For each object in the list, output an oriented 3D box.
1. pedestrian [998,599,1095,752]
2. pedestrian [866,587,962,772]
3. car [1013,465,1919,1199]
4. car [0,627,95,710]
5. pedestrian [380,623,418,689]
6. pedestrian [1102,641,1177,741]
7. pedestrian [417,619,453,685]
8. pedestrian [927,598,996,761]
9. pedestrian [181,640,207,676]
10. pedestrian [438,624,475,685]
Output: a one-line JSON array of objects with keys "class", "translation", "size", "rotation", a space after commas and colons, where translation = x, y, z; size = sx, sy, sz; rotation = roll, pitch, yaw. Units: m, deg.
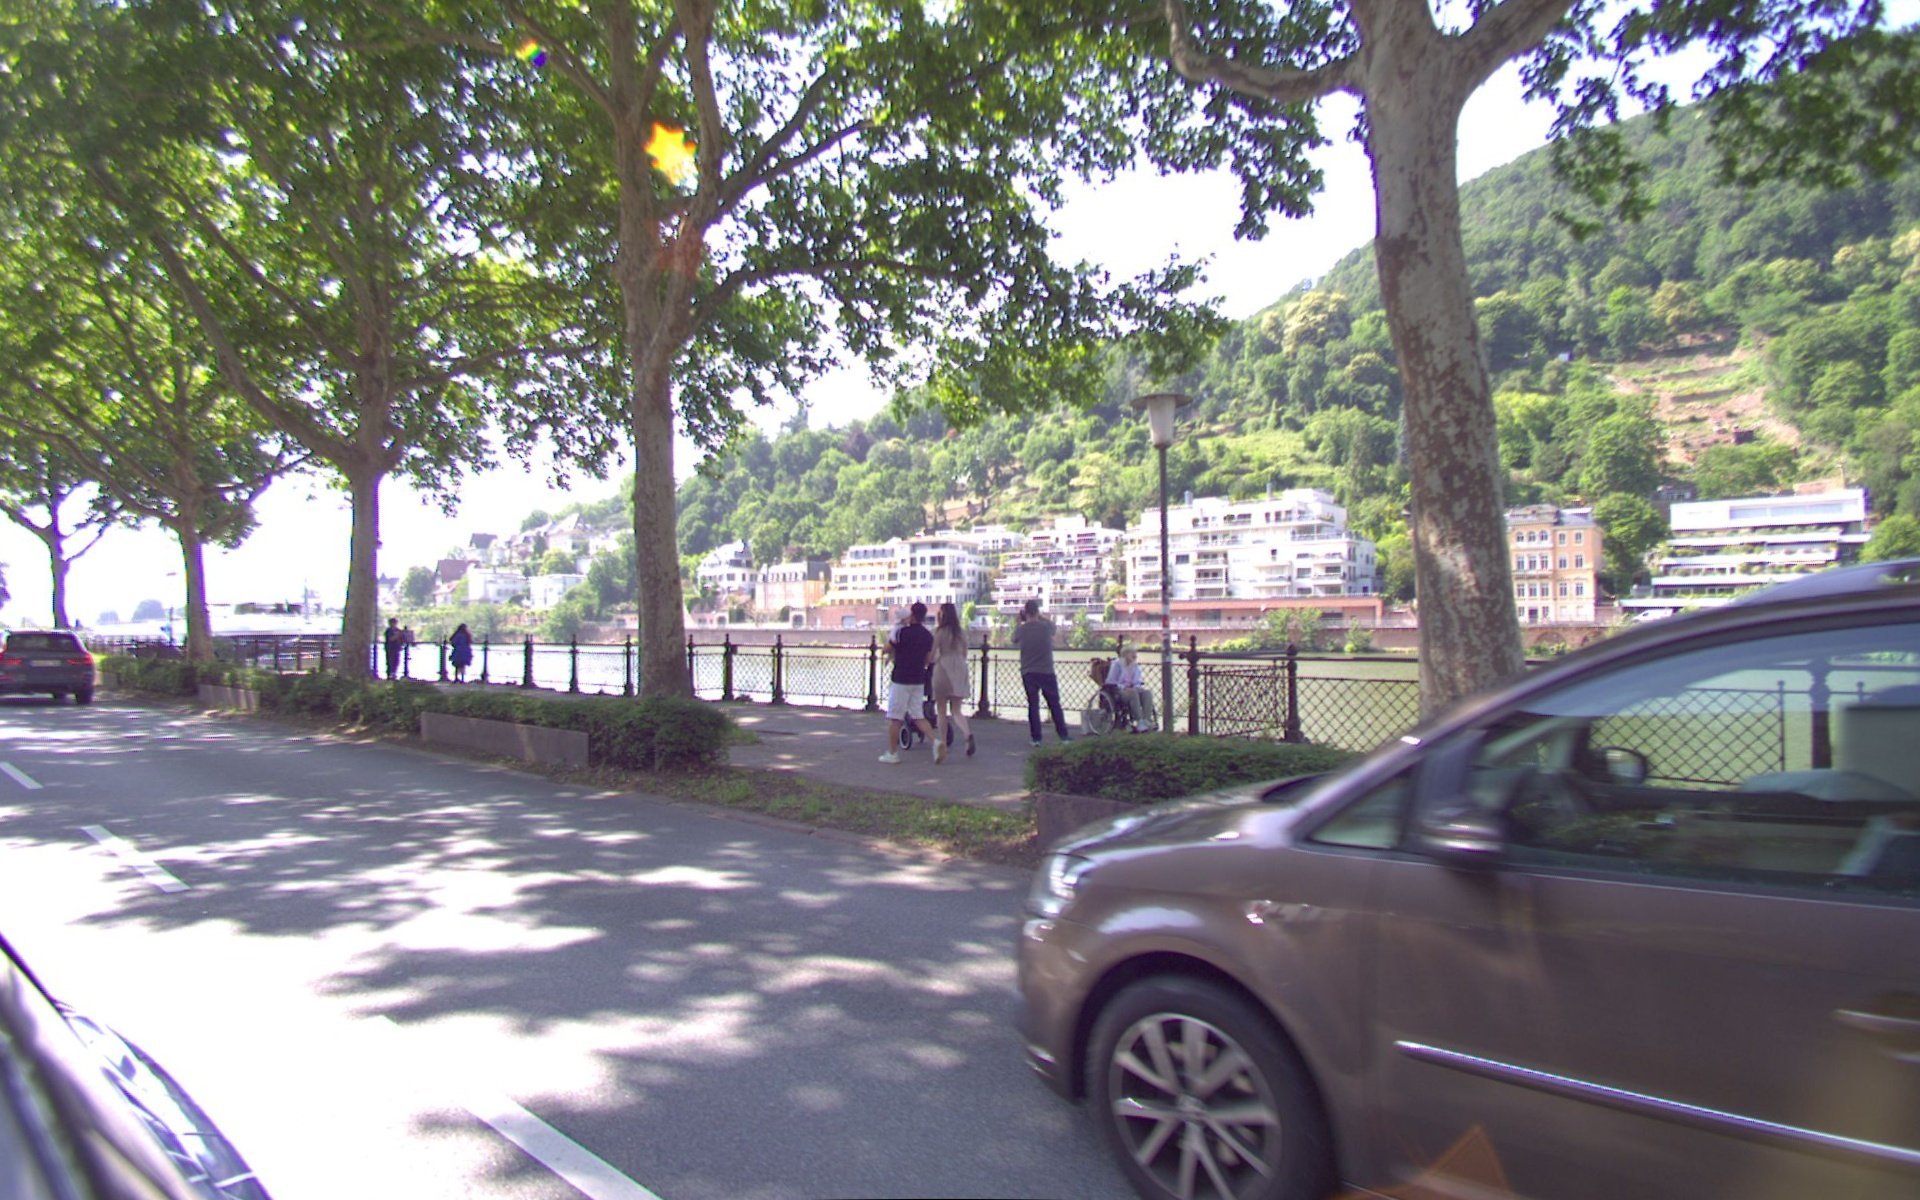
[{"class": "pedestrian", "translation": [1.036, 0.871, 12.115], "size": [0.873, 1.730, 0.686], "rotation": [-2, 0, 40]}, {"class": "pedestrian", "translation": [-0.493, 0.828, 10.815], "size": [0.805, 1.884, 0.634], "rotation": [-2, -4, 42]}, {"class": "car", "translation": [2.246, 0.650, 2.062], "size": [4.088, 1.660, 1.745], "rotation": [-2, -4, 42]}, {"class": "car", "translation": [-21.190, 1.494, 22.842], "size": [4.256, 1.711, 1.857], "rotation": [-2, -3, 41]}, {"class": "pedestrian", "translation": [-15.262, 1.513, 27.528], "size": [0.705, 1.744, 0.696], "rotation": [-2, -2, 43]}, {"class": "pedestrian", "translation": [2.259, 1.123, 12.716], "size": [0.695, 1.186, 0.603], "rotation": [-2, -2, 42]}, {"class": "pedestrian", "translation": [-14.797, 1.448, 28.542], "size": [0.705, 1.810, 0.696], "rotation": [-2, -2, 43]}, {"class": "pedestrian", "translation": [0.020, 0.884, 11.485], "size": [0.592, 1.782, 0.511], "rotation": [-2, -4, 42]}, {"class": "pedestrian", "translation": [-29.149, 2.208, 38.515], "size": [0.704, 1.318, 0.647], "rotation": [-2, 0, 41]}, {"class": "pedestrian", "translation": [-13.633, 1.452, 27.394], "size": [0.705, 1.615, 0.696], "rotation": [-2, -2, 43]}]
